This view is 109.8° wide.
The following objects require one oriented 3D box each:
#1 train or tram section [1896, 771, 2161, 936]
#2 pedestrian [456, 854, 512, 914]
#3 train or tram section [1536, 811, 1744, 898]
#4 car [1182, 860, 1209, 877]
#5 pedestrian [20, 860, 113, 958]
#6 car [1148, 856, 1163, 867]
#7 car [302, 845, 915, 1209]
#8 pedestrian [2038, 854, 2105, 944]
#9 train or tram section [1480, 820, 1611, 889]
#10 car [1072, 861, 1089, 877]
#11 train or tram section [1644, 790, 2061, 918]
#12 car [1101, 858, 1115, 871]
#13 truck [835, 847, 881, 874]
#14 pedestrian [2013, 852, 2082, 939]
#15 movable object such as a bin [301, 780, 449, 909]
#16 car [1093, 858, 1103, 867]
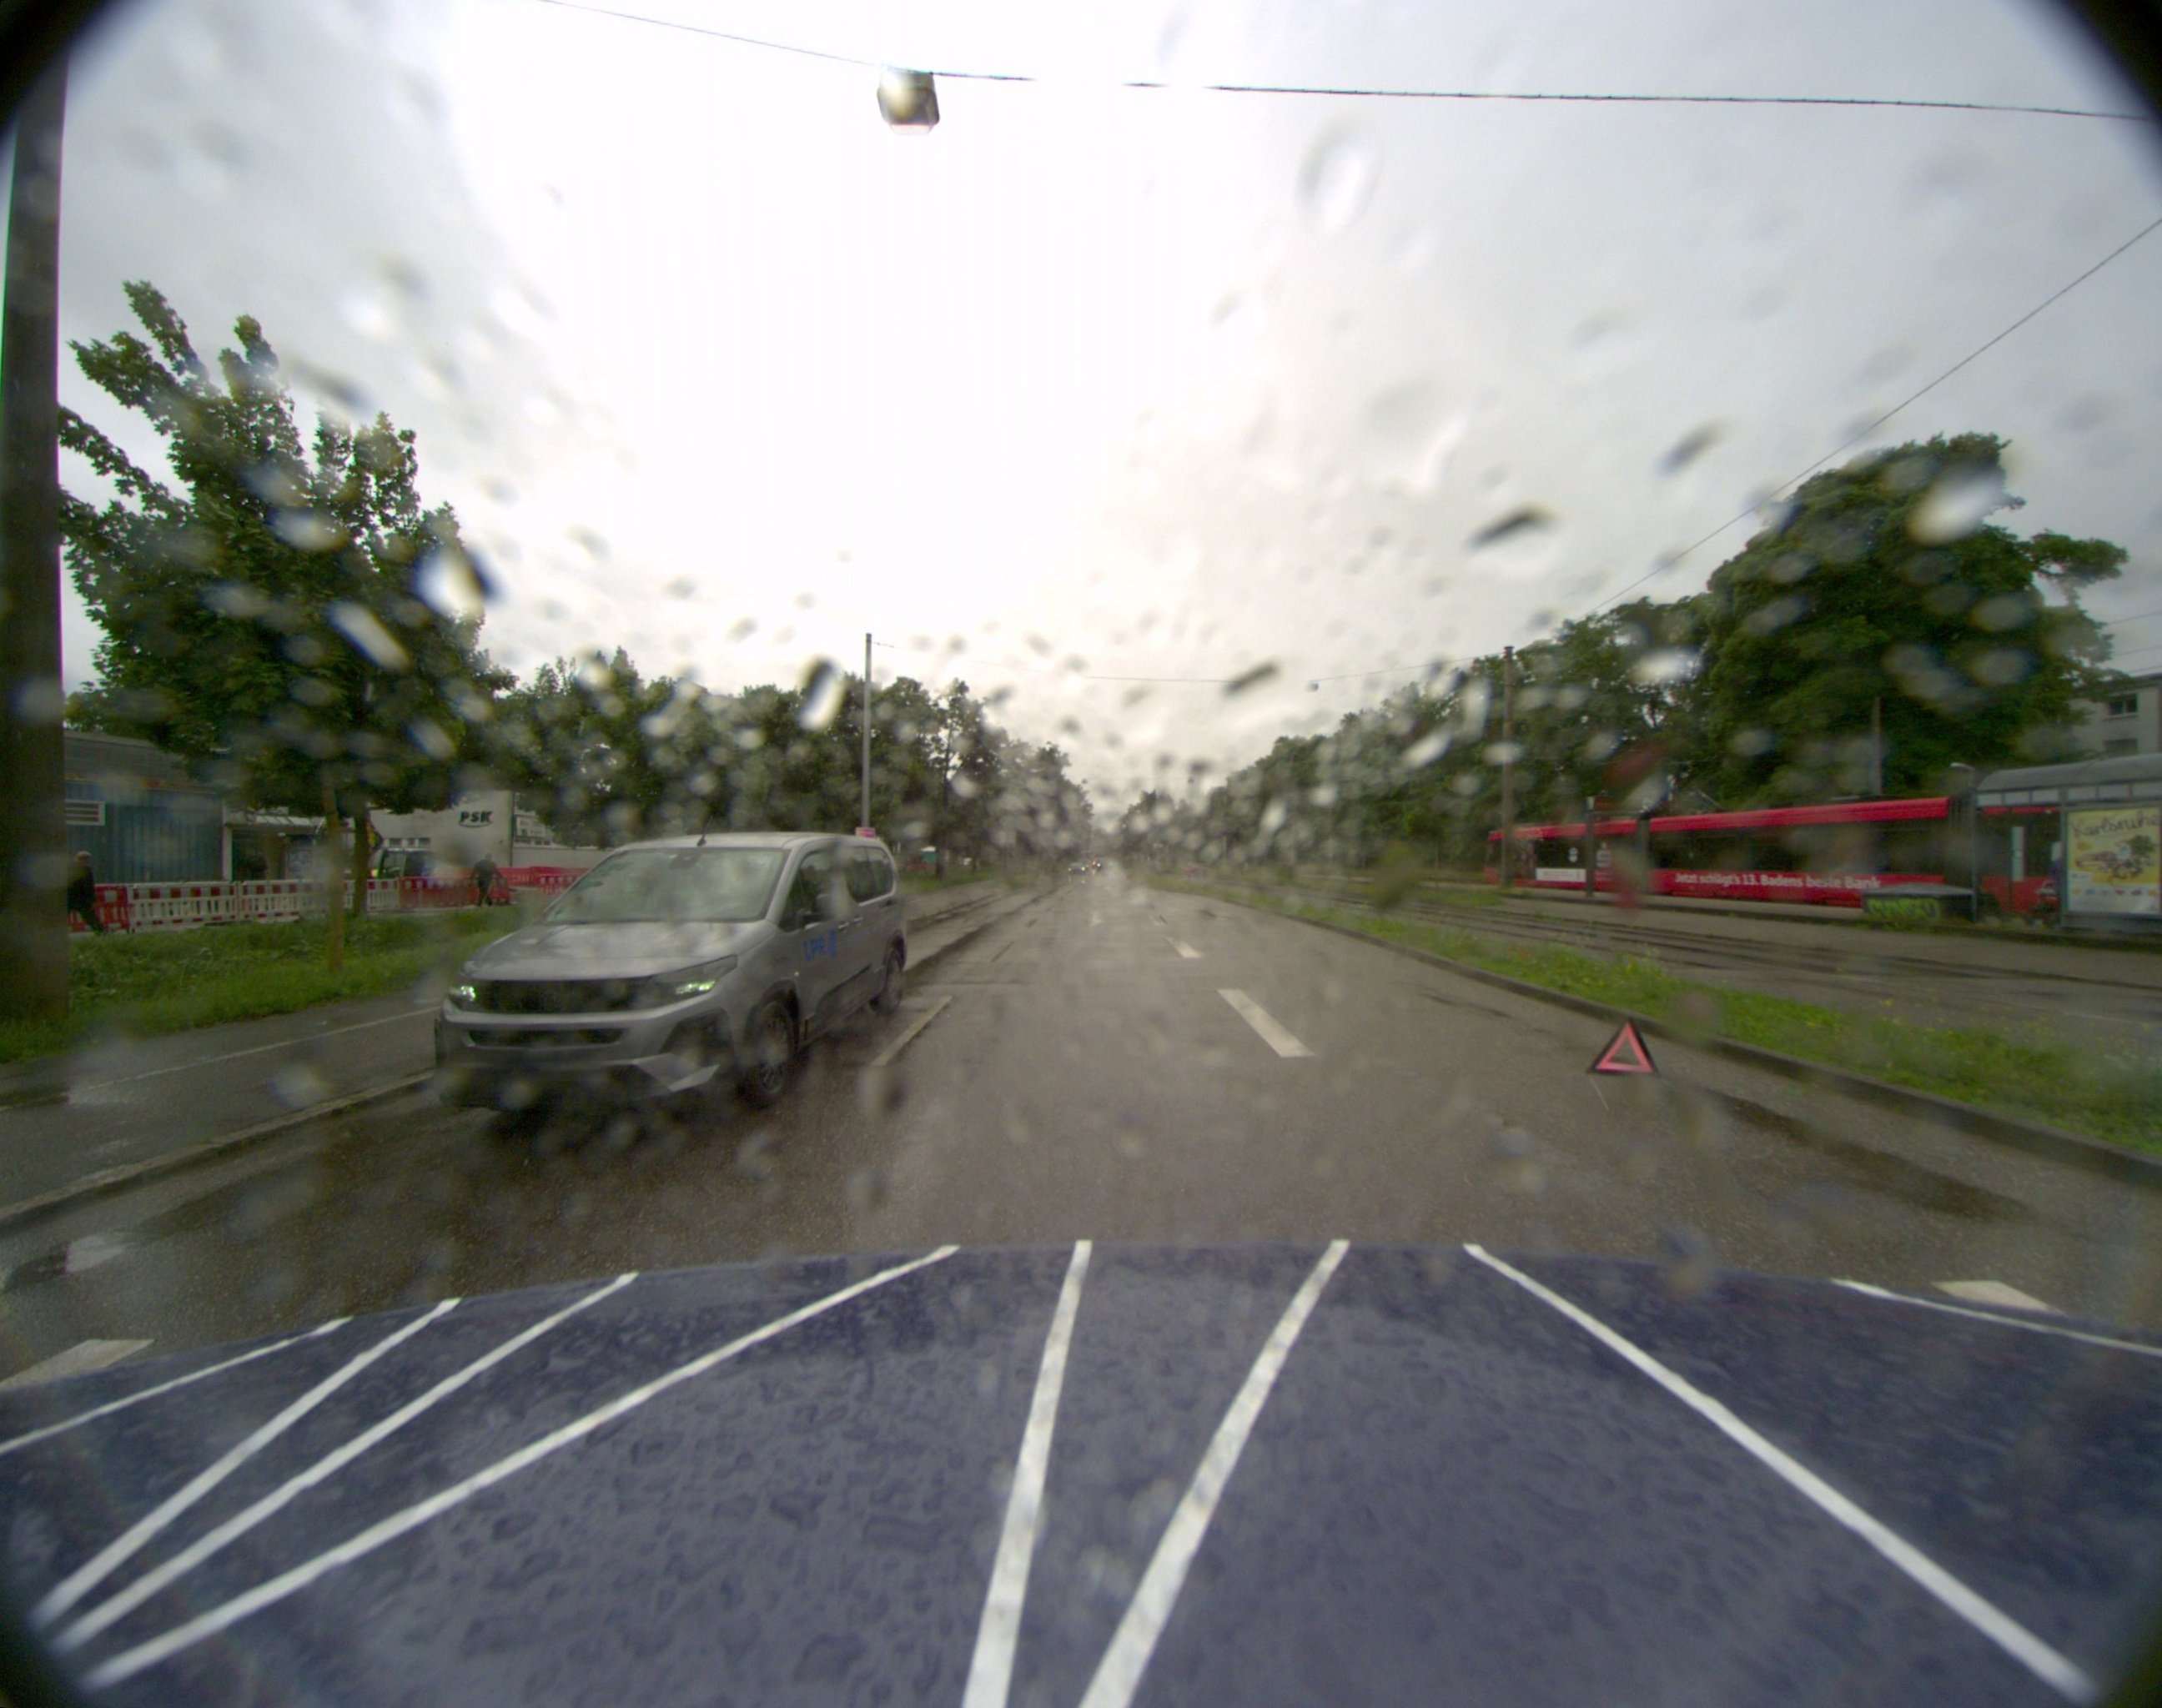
[{"bbox_3d":[23.955,-0.014,16.102,3.541,3.370,9.278,0,0,1],"label":"train or tram section"},{"bbox_3d":[-19.986,0.980,25.476,0.814,1.924,1.212,-2,1,0],"label":"pedestrian"},{"bbox_3d":[24.311,0.023,33.788,3.541,3.392,7.903,0,0,1],"label":"train or tram section"},{"bbox_3d":[10.250,1.268,68.229,1.685,1.353,4.251,2,0,-1],"label":"car"},{"bbox_3d":[-20.344,1.080,15.259,0.580,1.885,0.876,-2,1,0],"label":"pedestrian"},{"bbox_3d":[10.153,0.989,104.039,1.741,1.428,3.820,-1,1,1],"label":"car"},{"bbox_3d":[-2.875,0.866,6.109,1.998,1.785,4.562,-2,0,0],"label":"car"},{"bbox_3d":[17.522,0.780,13.454,0.444,1.553,0.602,-2,1,15],"label":"pedestrian"},{"bbox_3d":[24.453,0.036,40.421,3.541,3.398,5.770,0,0,1],"label":"train or tram section"},{"bbox_3d":[-0.091,1.655,85.203,1.858,1.583,3.999,-2,1,0],"label":"car"},{"bbox_3d":[24.145,0.008,25.190,3.541,3.381,10.261,0,0,1],"label":"train or tram section"},{"bbox_3d":[3.718,1.478,105.504,1.812,1.683,3.776,-2,1,0],"label":"car"},{"bbox_3d":[-26.384,0.714,90.262,2.811,2.882,8.749,-2,1,0],"label":"truck"},{"bbox_3d":[17.892,0.757,14.075,0.522,1.553,0.602,-2,1,15],"label":"pedestrian"},{"bbox_3d":[-26.048,-0.332,28.235,1.557,4.400,3.909,-2,1,2],"label":"movable object such as a bin"},{"bbox_3d":[3.231,1.639,144.105,1.898,1.601,4.000,-2,1,1],"label":"car"}]
